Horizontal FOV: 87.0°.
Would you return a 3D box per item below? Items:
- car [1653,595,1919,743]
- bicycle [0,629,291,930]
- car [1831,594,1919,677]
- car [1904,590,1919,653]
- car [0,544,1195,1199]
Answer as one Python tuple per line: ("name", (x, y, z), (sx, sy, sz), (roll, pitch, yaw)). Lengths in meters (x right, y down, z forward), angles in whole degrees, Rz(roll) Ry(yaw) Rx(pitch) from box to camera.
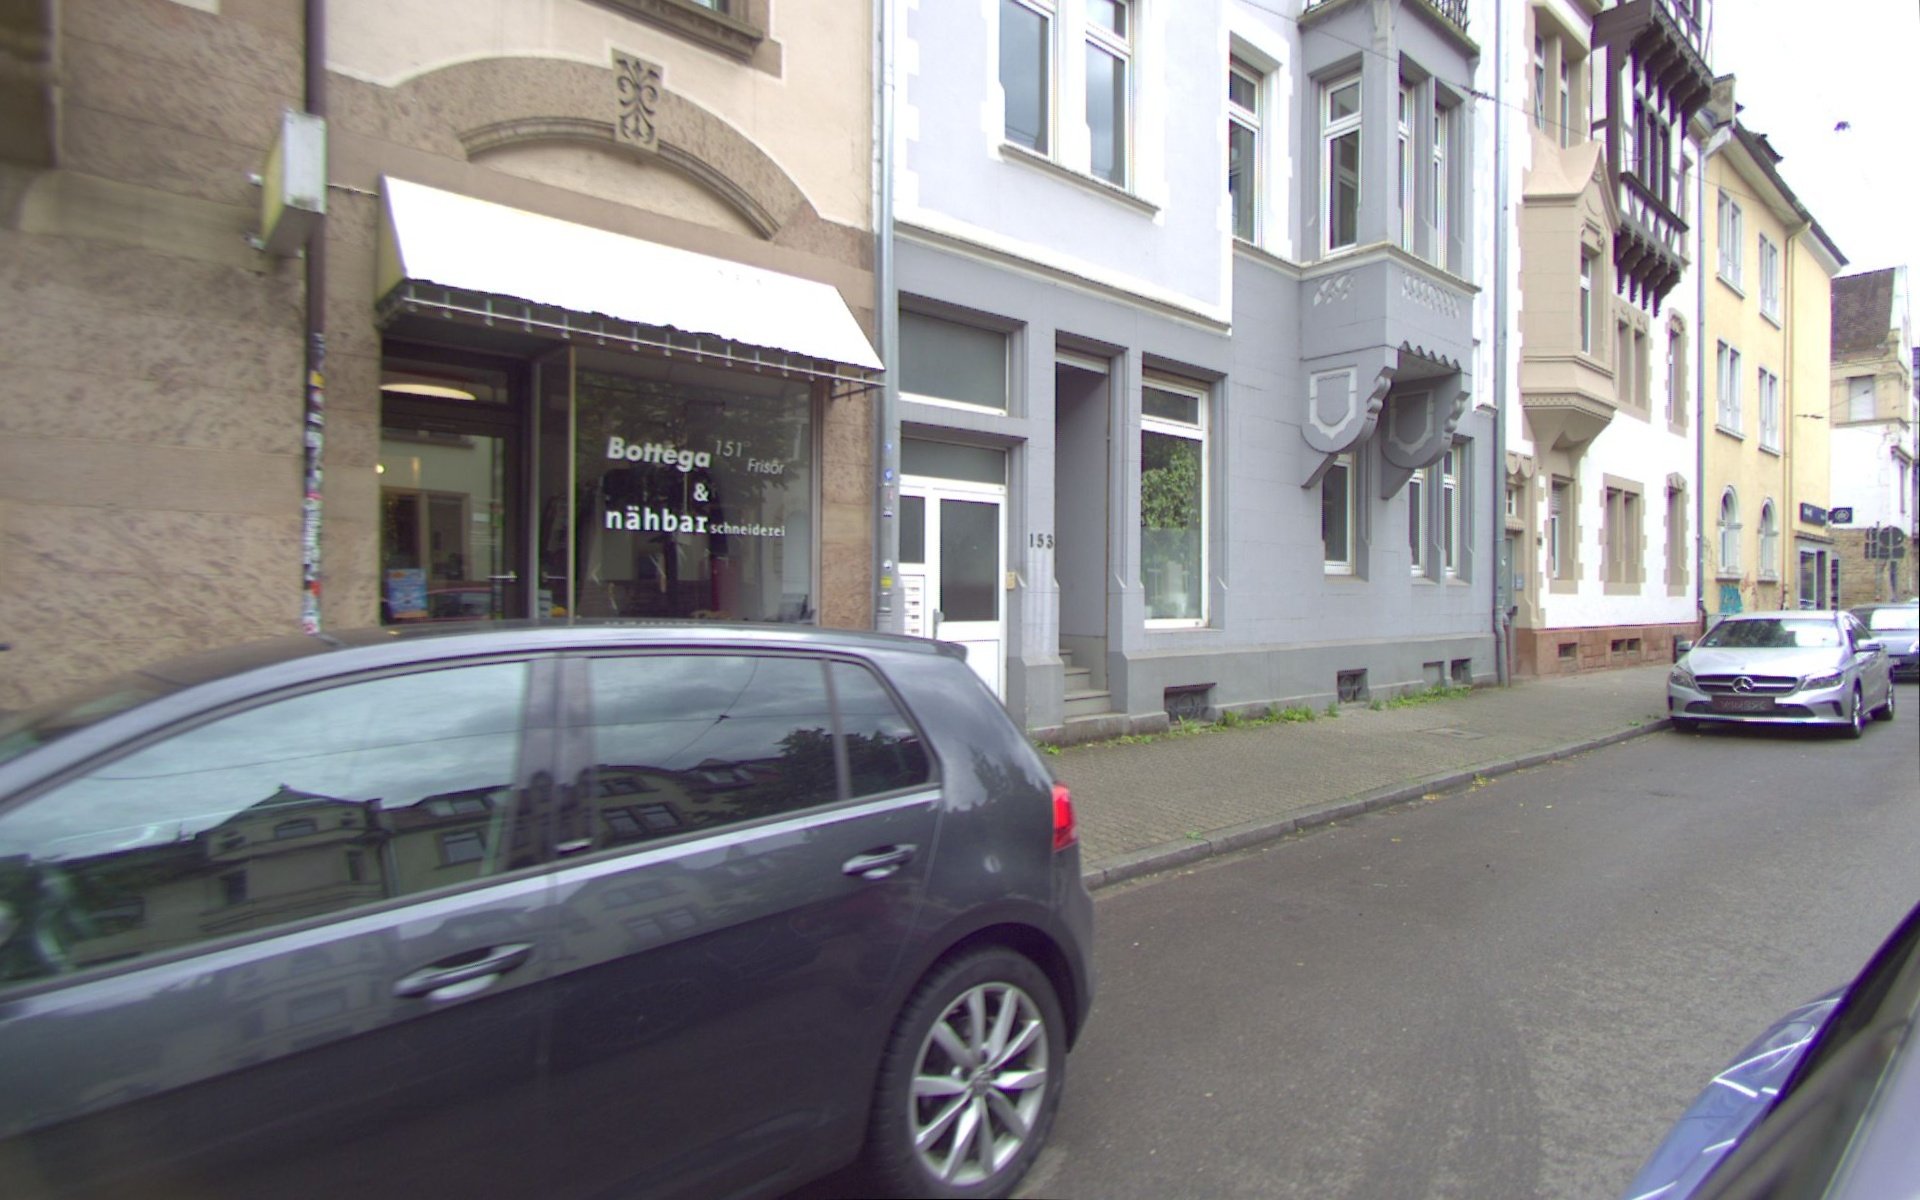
("car", (10.320, 0.747, 12.539), (4.139, 1.533, 1.791), (0, -3, -40))
("bicycle", (-3.733, 0.714, 4.183), (1.560, 1.111, 0.422), (0, 5, -41))
("car", (18.697, 0.653, 20.010), (4.140, 1.506, 1.633), (0, -3, -42))
("car", (26.111, 0.527, 26.506), (4.141, 1.547, 1.633), (-1, 0, -42))
("car", (-1.494, 0.730, 2.175), (4.316, 1.533, 1.699), (0, -3, -42))
